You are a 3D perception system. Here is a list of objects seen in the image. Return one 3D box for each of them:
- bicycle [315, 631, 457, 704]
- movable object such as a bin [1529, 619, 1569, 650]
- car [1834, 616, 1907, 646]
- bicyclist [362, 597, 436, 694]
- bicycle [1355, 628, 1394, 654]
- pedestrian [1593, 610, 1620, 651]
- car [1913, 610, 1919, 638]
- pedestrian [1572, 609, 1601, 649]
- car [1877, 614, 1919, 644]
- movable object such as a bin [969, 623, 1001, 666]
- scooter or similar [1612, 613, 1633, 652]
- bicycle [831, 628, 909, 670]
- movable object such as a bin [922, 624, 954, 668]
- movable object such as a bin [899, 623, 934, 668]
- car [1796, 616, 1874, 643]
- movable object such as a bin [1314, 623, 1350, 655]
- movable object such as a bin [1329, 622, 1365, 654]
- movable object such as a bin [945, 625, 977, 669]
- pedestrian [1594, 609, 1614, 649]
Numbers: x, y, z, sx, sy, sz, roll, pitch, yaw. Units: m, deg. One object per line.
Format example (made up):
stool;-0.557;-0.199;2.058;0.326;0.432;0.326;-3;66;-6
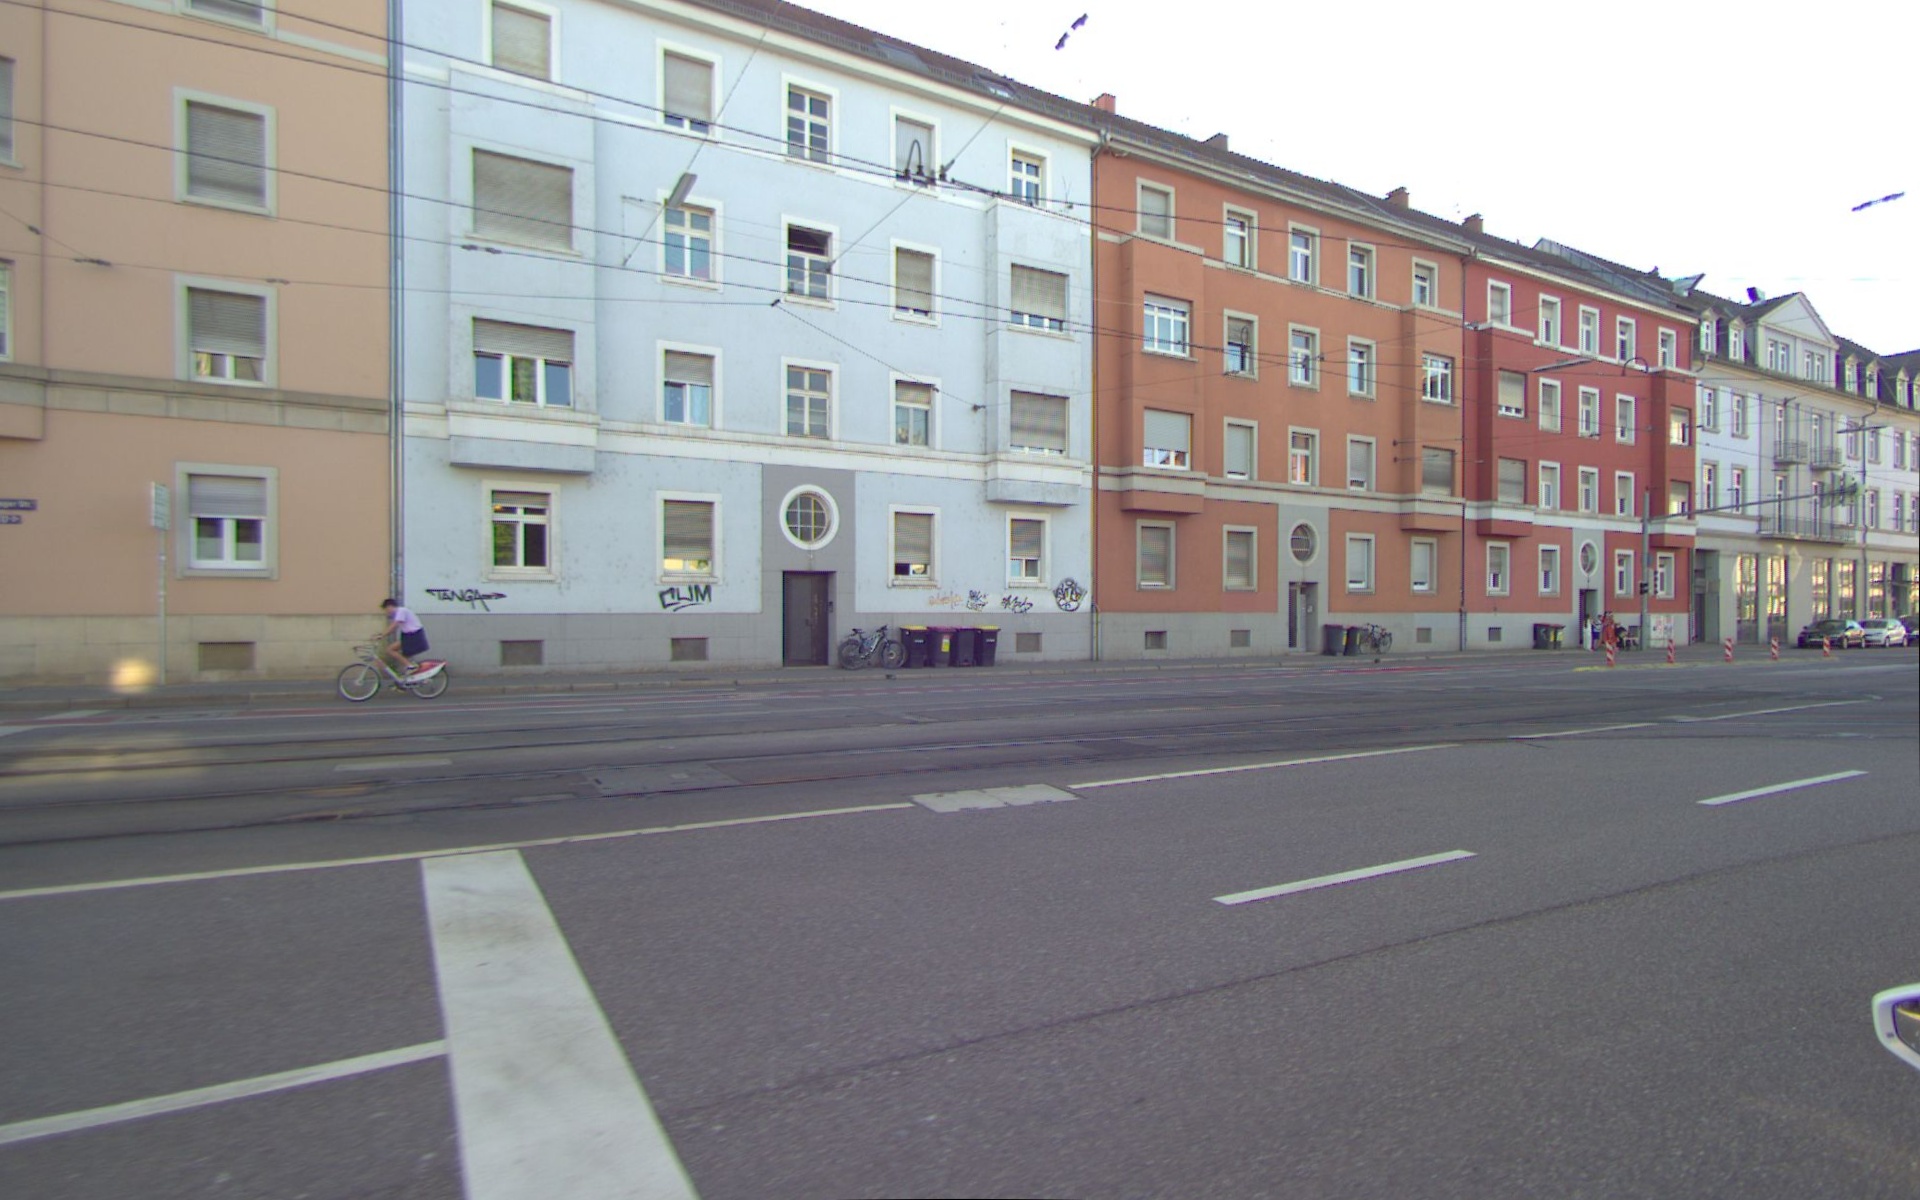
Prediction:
bicycle;-10.093;1.158;17.727;2.127;1.206;0.743;1;-1;-31
movable object such as a bin;23.908;1.387;40.759;1.216;1.266;0.868;0;-1;-24
car;46.626;1.567;51.430;3.953;1.471;1.711;0;-1;-31
bicyclist;-9.947;0.785;17.827;1.112;1.665;0.743;1;-1;-30
bicycle;14.644;1.443;35.464;1.583;0.902;0.333;1;-1;-26
pedestrian;26.895;1.255;41.795;0.815;1.655;0.795;0;0;22
car;56.531;1.377;57.453;4.224;1.572;1.826;0;-1;-31
pedestrian;26.109;1.185;41.852;0.643;1.655;0.793;0;0;-12
car;50.922;1.529;53.774;3.811;1.572;1.711;0;-1;-31
movable object such as a bin;0.675;1.190;26.887;0.576;1.121;0.699;0;0;-30
scooter or similar;28.019;1.370;42.488;0.642;1.655;0.794;0;0;28
bicycle;-2.247;1.207;25.164;1.855;0.993;0.602;1;0;-31
movable object such as a bin;-0.582;1.191;26.111;0.576;1.121;0.699;0;0;-30
movable object such as a bin;-1.119;1.154;25.805;0.641;1.121;0.699;0;0;-30
car;42.073;1.375;48.275;3.953;1.249;1.711;0;-1;-31
movable object such as a bin;12.492;1.290;33.751;0.803;1.054;0.838;1;-1;-34
movable object such as a bin;13.184;1.281;34.215;0.803;1.054;0.838;1;-1;-34
movable object such as a bin;0.034;1.231;26.520;0.576;1.121;0.699;0;0;-30
pedestrian;27.452;1.223;42.836;0.642;1.655;0.794;0;0;28
